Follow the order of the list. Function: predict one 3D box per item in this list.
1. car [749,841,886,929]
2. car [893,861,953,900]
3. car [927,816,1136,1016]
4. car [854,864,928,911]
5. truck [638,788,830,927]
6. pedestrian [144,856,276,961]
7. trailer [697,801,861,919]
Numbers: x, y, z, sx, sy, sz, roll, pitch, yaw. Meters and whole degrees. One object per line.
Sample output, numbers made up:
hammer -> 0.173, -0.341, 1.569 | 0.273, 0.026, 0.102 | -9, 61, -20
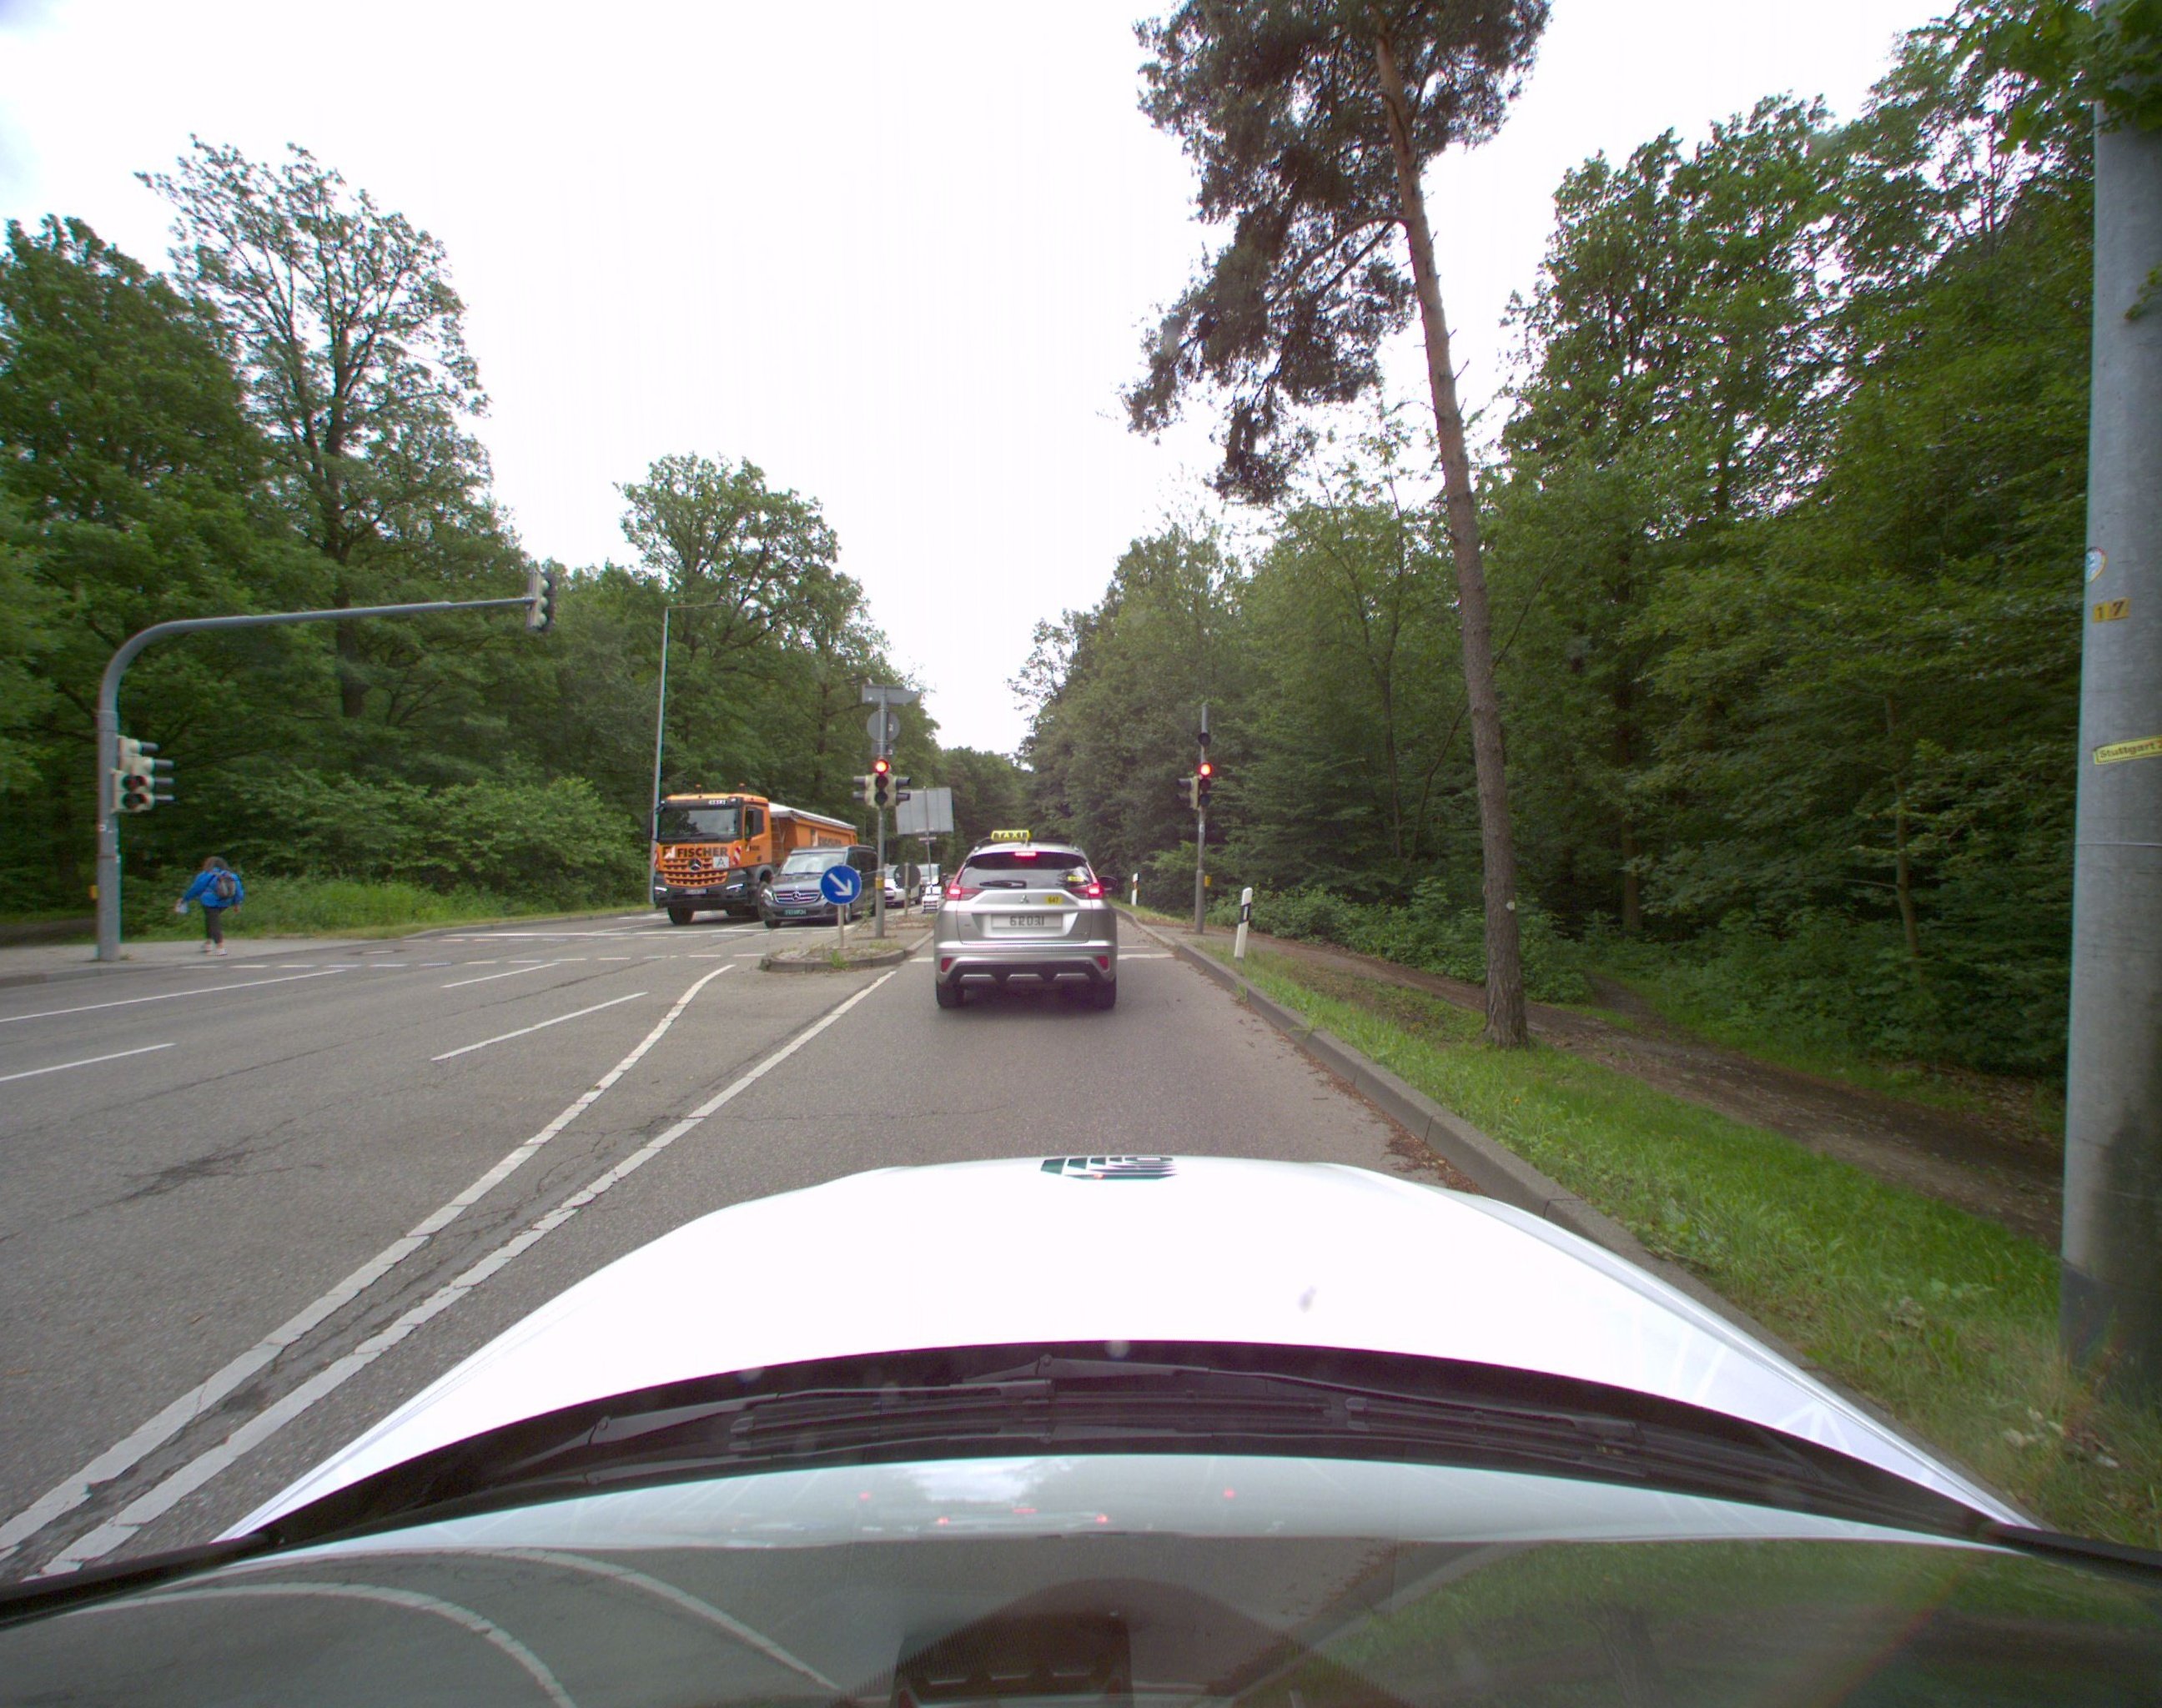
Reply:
car -> -6.481, 0.721, 20.679 | 1.988, 1.894, 4.835 | -2, -1, -2
car -> -6.763, 1.101, 35.226 | 1.806, 1.508, 3.720 | -3, -1, -1
car -> -0.540, 0.544, 9.327 | 1.842, 1.780, 3.996 | 1, 1, -3
car -> -6.421, 1.096, 27.854 | 1.607, 1.321, 3.720 | -3, 0, -1
truck -> -9.565, 0.156, 23.454 | 2.733, 3.318, 7.150 | -2, -1, -3
pedestrian -> -14.806, 0.891, 13.880 | 1.042, 1.649, 1.070 | 3, 1, 5
trailer -> -9.793, 0.240, 27.619 | 2.733, 3.318, 8.558 | -2, -1, -3
